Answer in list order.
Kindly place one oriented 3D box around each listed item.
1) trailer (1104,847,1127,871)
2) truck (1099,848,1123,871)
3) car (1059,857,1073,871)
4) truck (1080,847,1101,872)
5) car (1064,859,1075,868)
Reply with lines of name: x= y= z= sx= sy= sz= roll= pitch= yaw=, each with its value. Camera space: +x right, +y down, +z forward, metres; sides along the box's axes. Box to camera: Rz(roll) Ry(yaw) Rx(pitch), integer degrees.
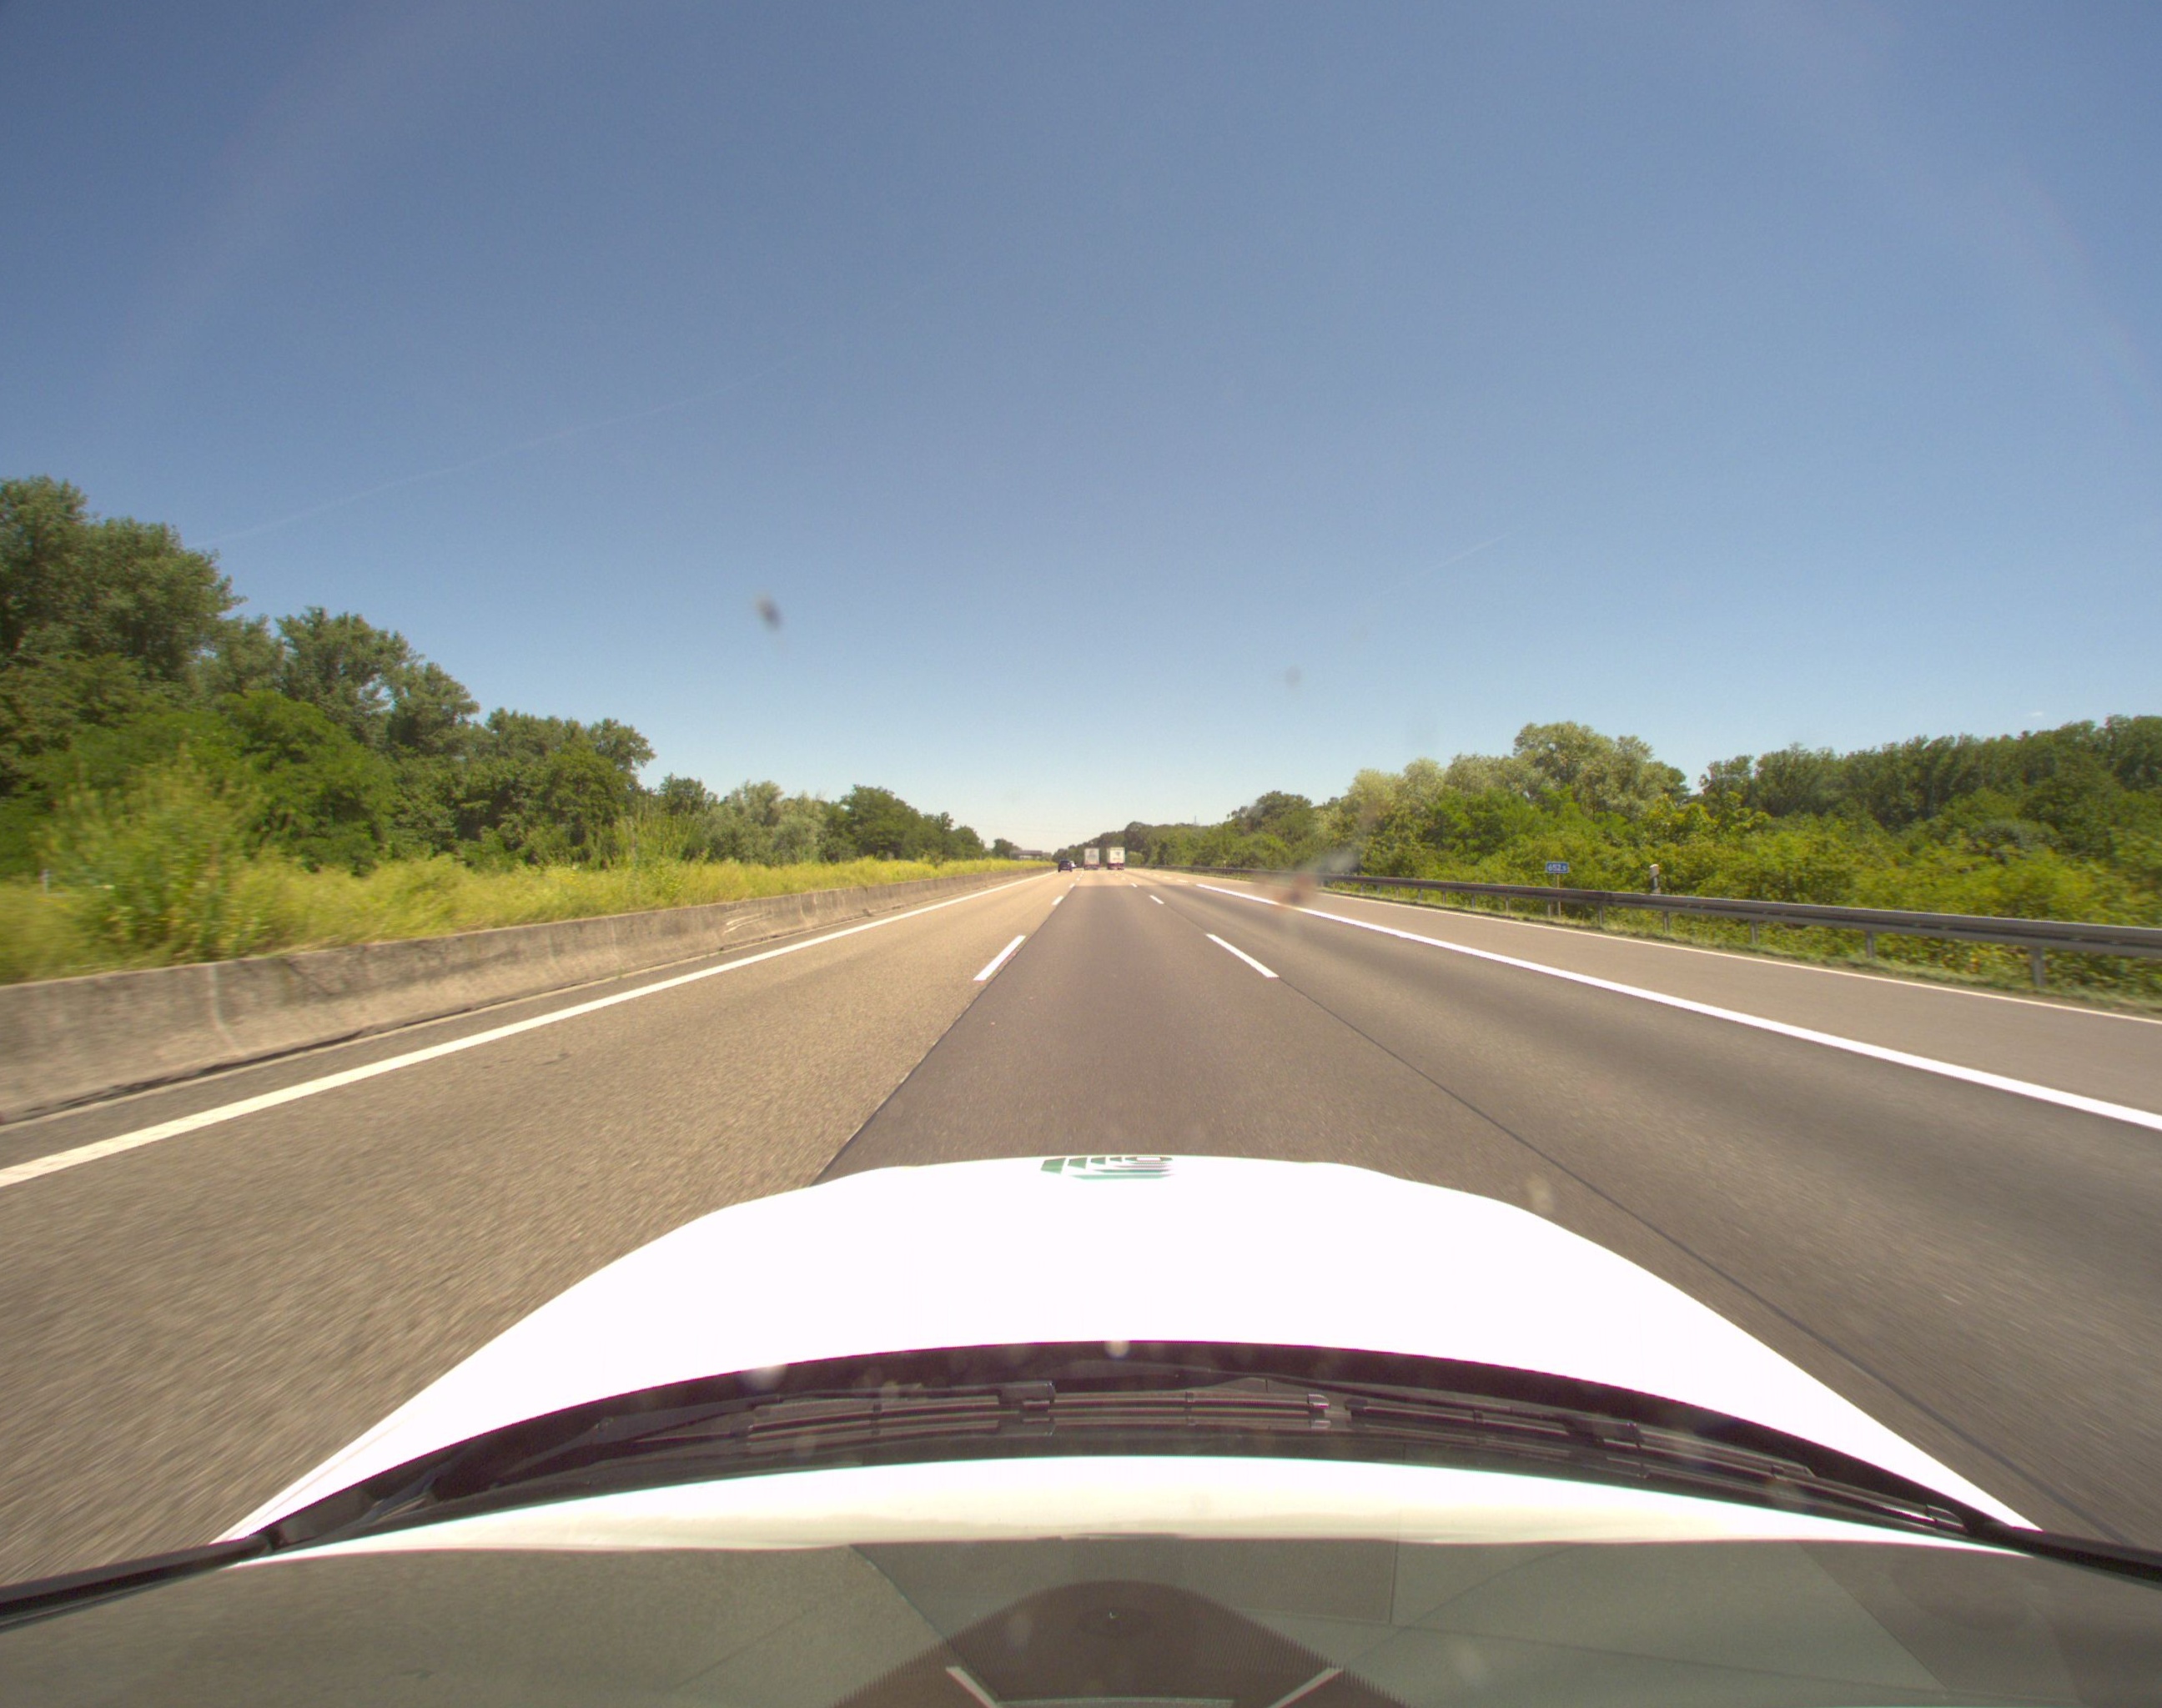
trailer: x=6.106 y=0.934 z=145.409 sx=3.360 sy=4.142 sz=9.080 roll=0 pitch=0 yaw=-3
truck: x=5.586 y=1.028 z=153.332 sx=3.320 sy=4.053 sz=10.935 roll=0 pitch=0 yaw=-5
car: x=-2.111 y=1.429 z=116.329 sx=1.987 sy=1.874 sz=4.000 roll=0 pitch=0 yaw=0
truck: x=1.706 y=0.945 z=143.816 sx=3.222 sy=4.202 sz=8.457 roll=0 pitch=0 yaw=-3
car: x=-2.392 y=1.976 z=169.725 sx=1.990 sy=1.874 sz=3.994 roll=1 pitch=0 yaw=-4
